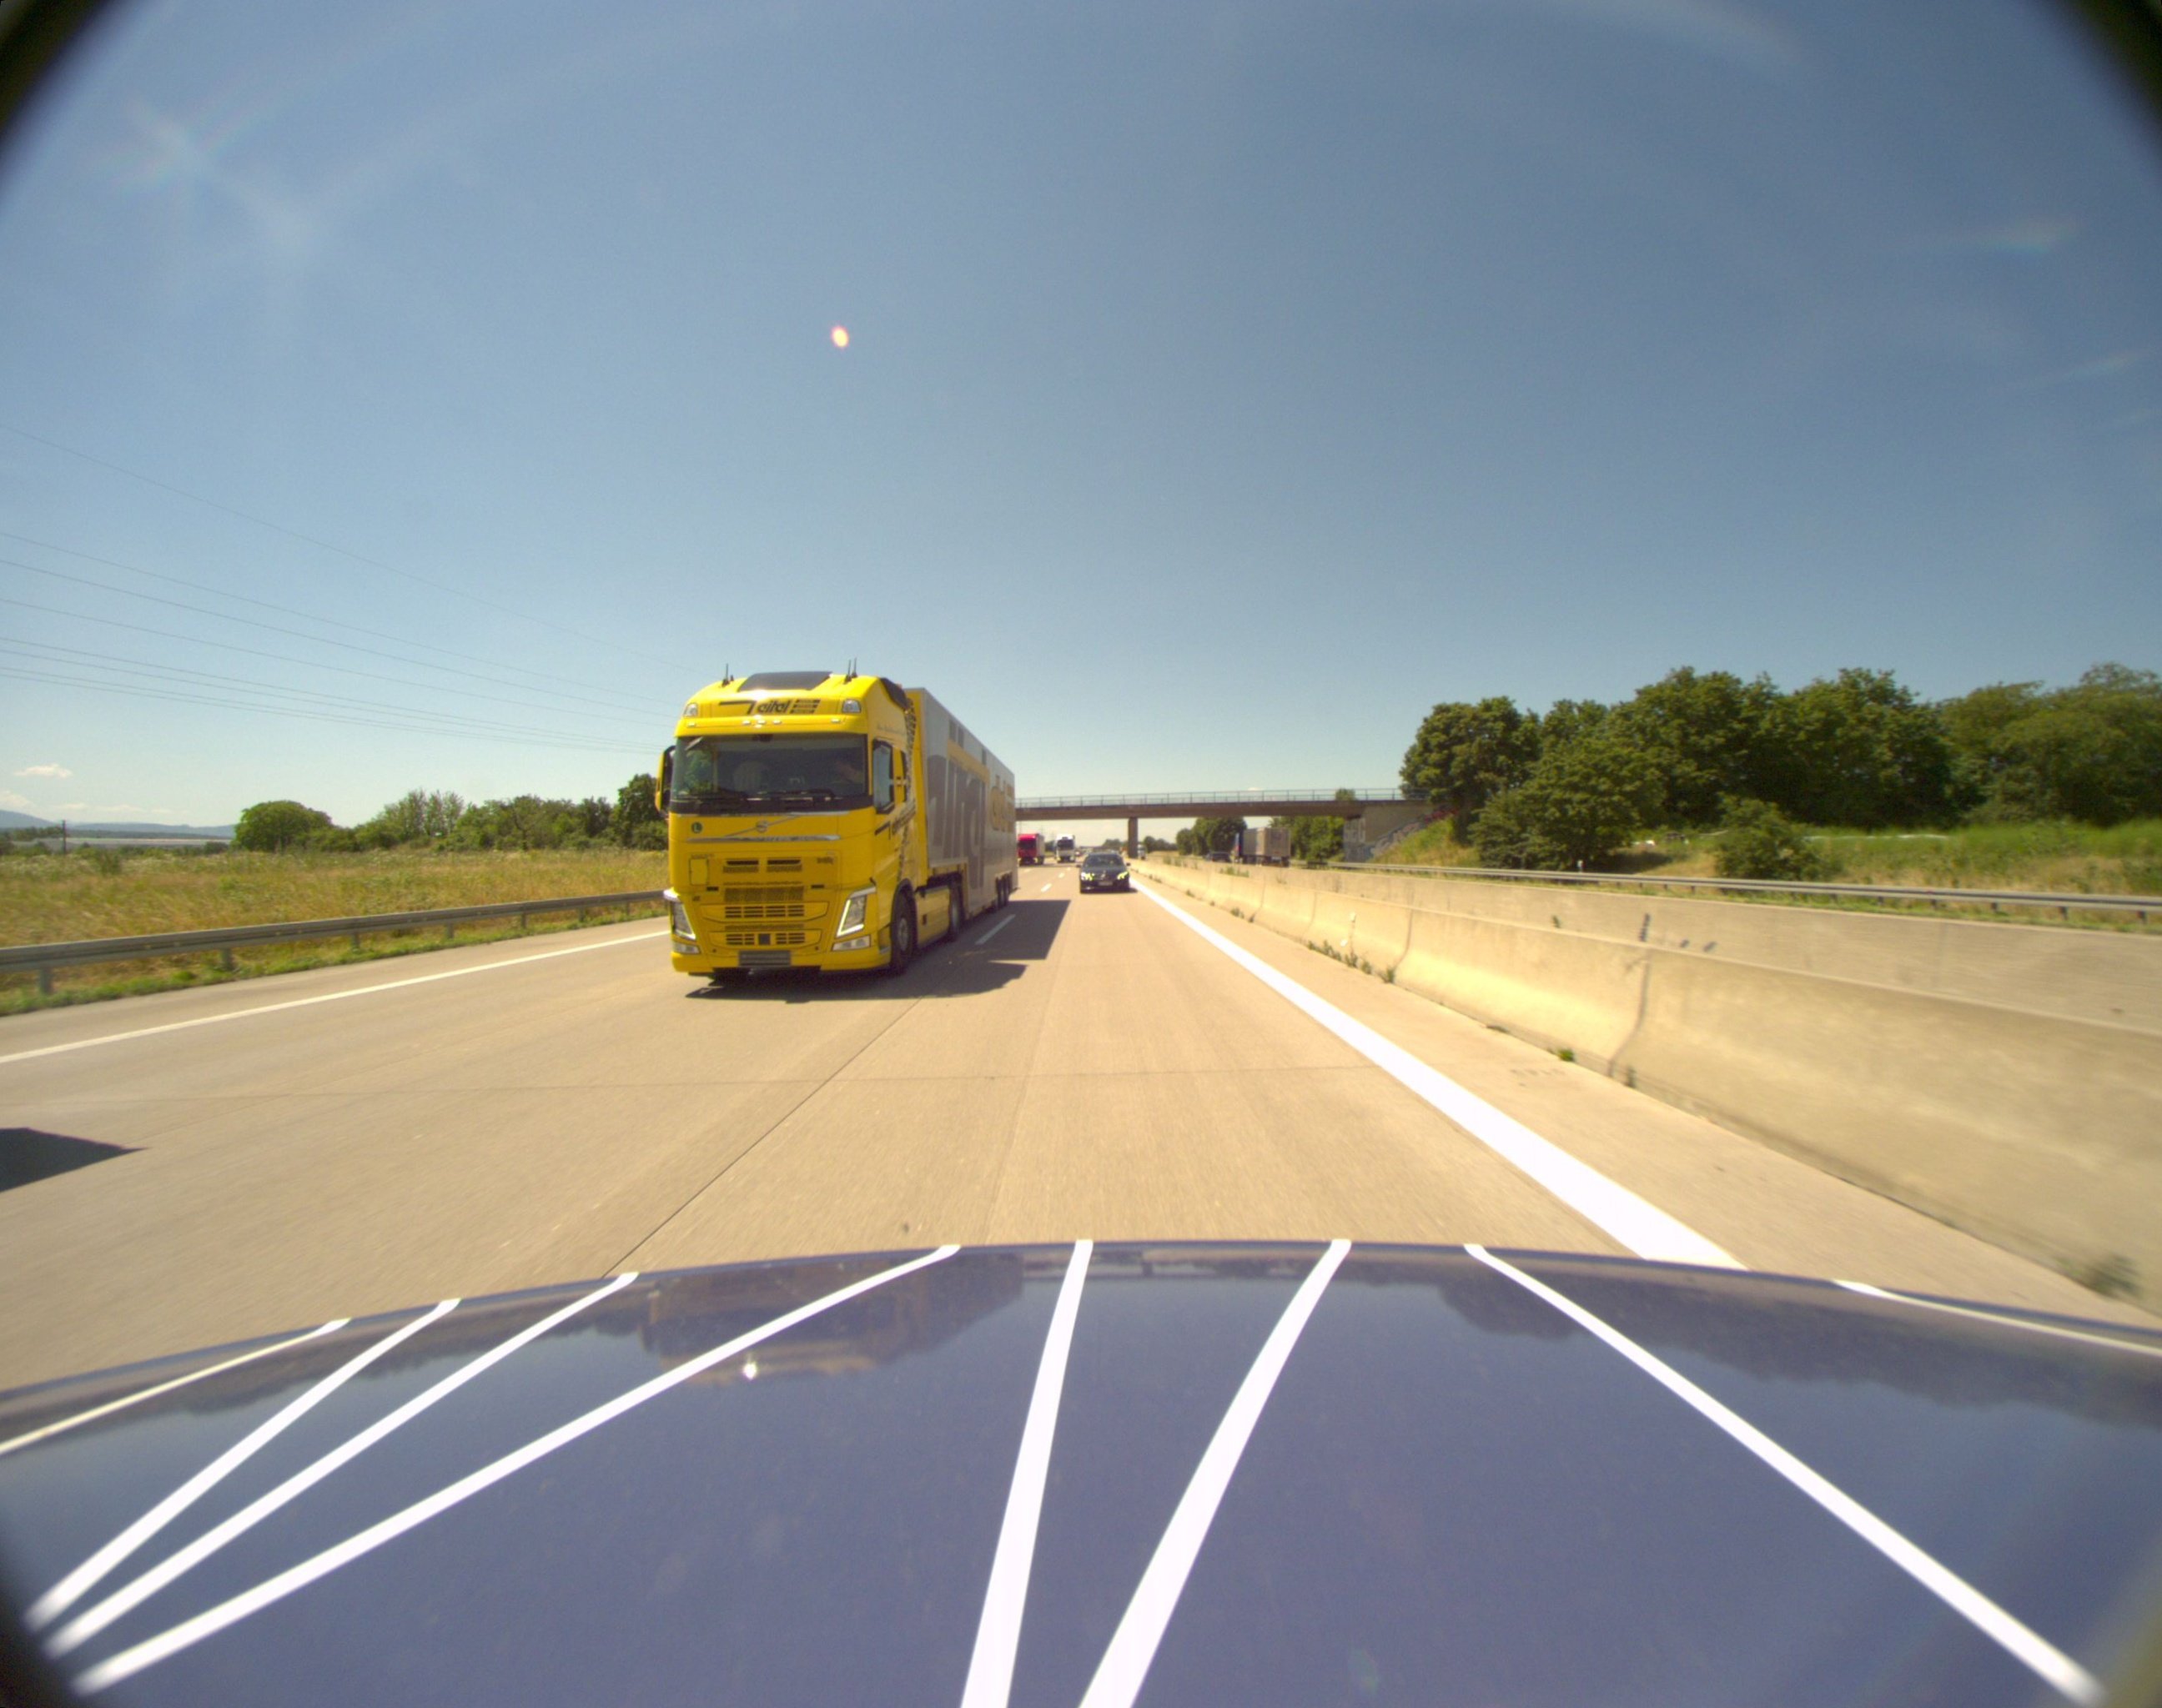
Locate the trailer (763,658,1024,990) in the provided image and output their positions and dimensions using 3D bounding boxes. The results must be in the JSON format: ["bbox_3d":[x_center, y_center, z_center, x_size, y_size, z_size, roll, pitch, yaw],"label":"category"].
[{"bbox_3d":[-3.000,-0.465,17.438,1.998,4.230,15.197,-2,1,0],"label":"trailer"}]

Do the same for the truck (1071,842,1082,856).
[{"bbox_3d":[-1.316,-1.580,231.412,2.959,4.122,10.016,-2,1,1],"label":"truck"}]

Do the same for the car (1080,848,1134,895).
[{"bbox_3d":[0.956,0.588,28.789,1.848,1.576,3.939,-2,1,1],"label":"car"}]

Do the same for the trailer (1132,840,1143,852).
[{"bbox_3d":[19.295,-2.709,258.357,2.684,3.946,13.005,0,1,0],"label":"trailer"}]

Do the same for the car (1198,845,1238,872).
[{"bbox_3d":[10.212,0.303,57.051,1.998,1.851,5.466,-2,1,1],"label":"car"}]

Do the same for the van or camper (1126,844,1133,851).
[{"bbox_3d":[15.924,-1.985,248.026,1.942,2.207,4.796,-2,1,1],"label":"van or camper"}]

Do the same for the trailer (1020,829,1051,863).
[{"bbox_3d":[-6.035,-1.095,102.472,2.959,4.122,13.808,-2,1,1],"label":"trailer"}]

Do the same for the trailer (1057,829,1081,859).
[{"bbox_3d":[-1.718,-1.538,112.887,2.959,4.122,12.024,-2,1,1],"label":"trailer"}]

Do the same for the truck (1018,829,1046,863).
[{"bbox_3d":[-6.135,-1.023,95.841,2.959,4.122,6.151,-2,1,1],"label":"truck"}]

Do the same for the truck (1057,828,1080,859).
[{"bbox_3d":[-1.770,-1.518,108.064,2.959,4.122,6.151,-2,1,1],"label":"truck"}]

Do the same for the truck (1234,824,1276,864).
[{"bbox_3d":[18.625,-1.023,81.722,2.989,4.067,6.464,1,1,1],"label":"truck"}]

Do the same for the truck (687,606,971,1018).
[{"bbox_3d":[-3.007,-0.454,10.538,1.998,4.230,5.194,-2,1,0],"label":"truck"}]

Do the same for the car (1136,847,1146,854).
[{"bbox_3d":[16.154,-0.949,203.424,2.258,1.947,5.684,0,1,0],"label":"car"}]

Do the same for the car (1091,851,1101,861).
[{"bbox_3d":[3.072,0.398,154.413,1.998,1.781,4.300,-2,1,1],"label":"car"}]

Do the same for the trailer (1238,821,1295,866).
[{"bbox_3d":[18.555,-1.044,76.912,2.989,4.066,11.603,1,1,1],"label":"trailer"}]
